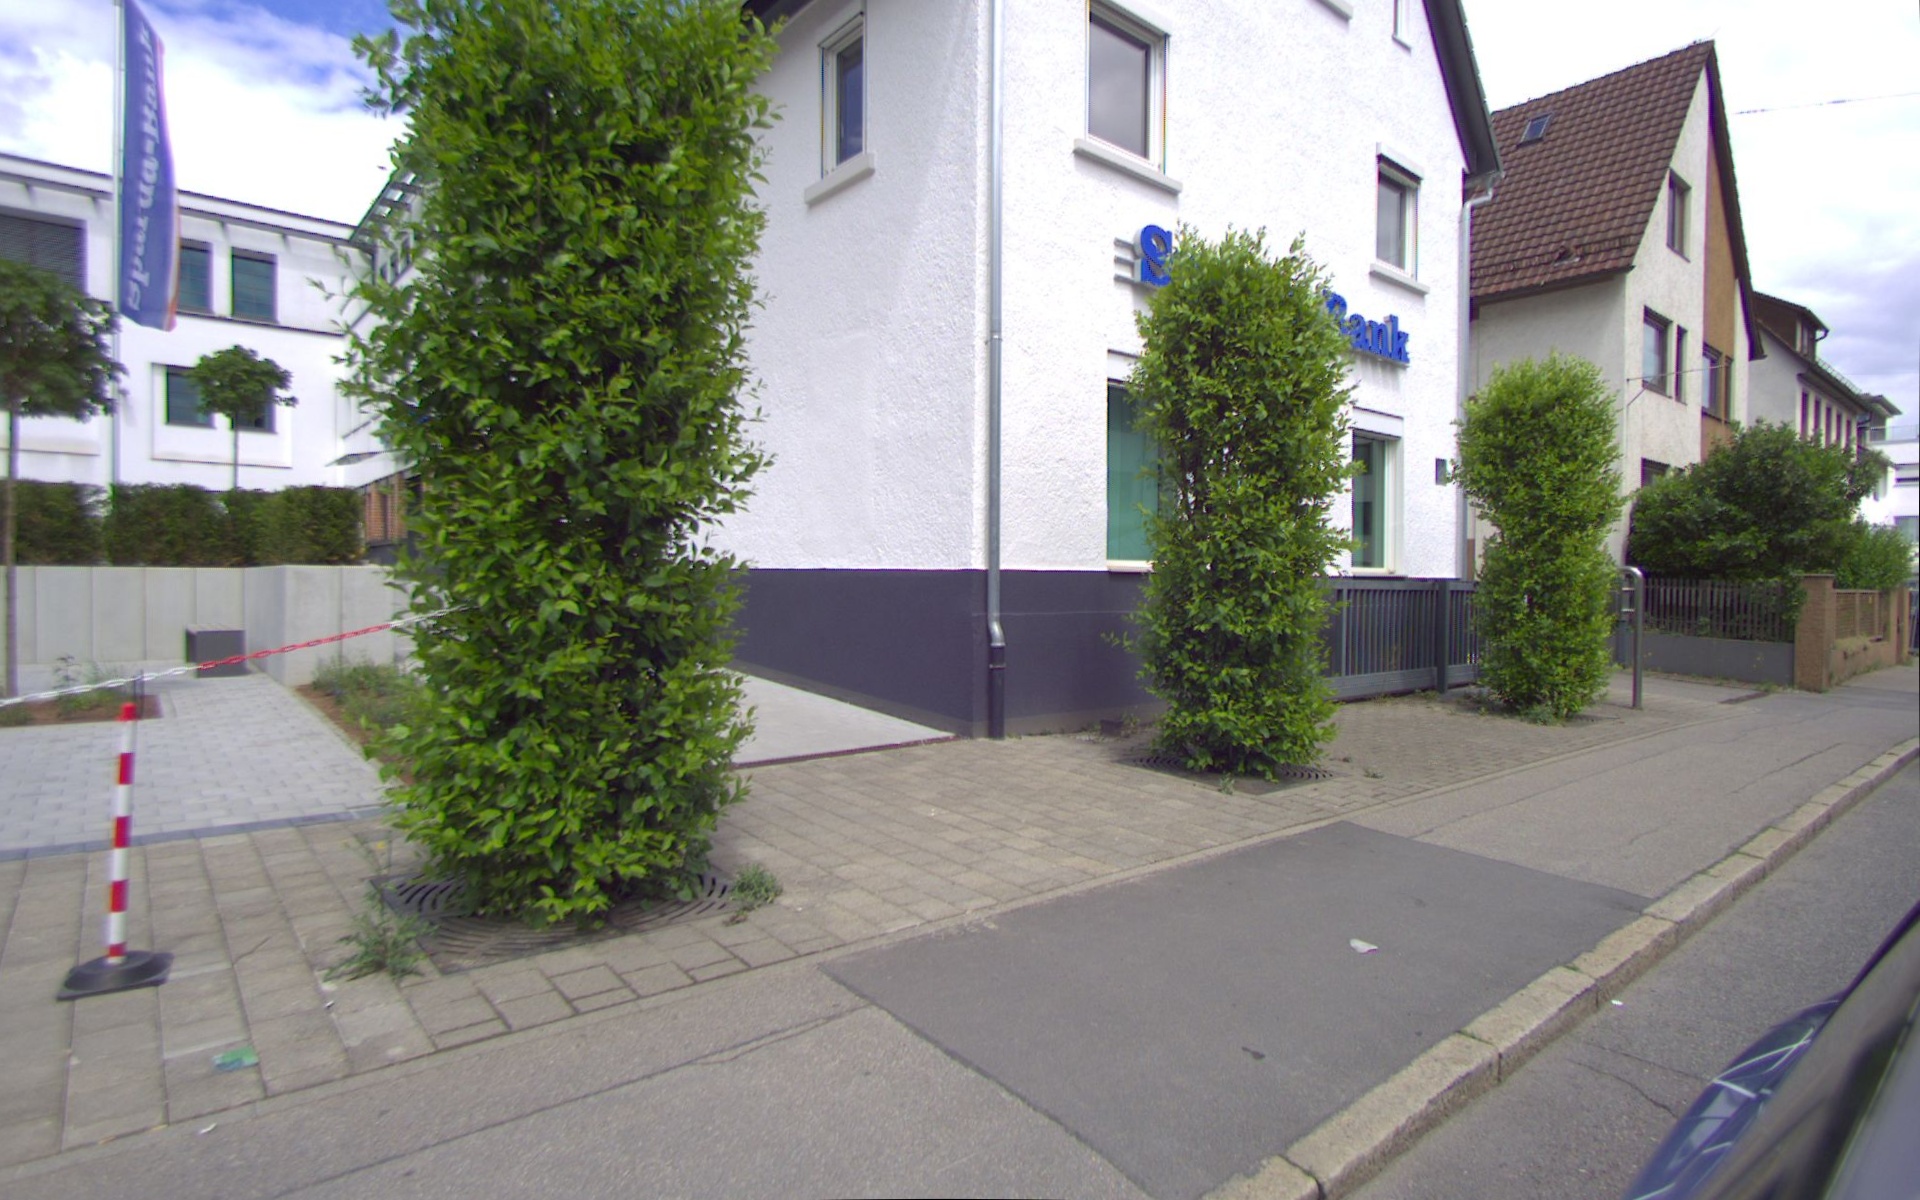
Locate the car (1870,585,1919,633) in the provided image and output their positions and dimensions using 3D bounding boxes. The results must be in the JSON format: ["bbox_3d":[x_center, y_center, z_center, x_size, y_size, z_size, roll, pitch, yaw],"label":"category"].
[{"bbox_3d":[30.393,0.266,32.125,3.933,1.430,1.923,0,2,-43],"label":"car"}]
